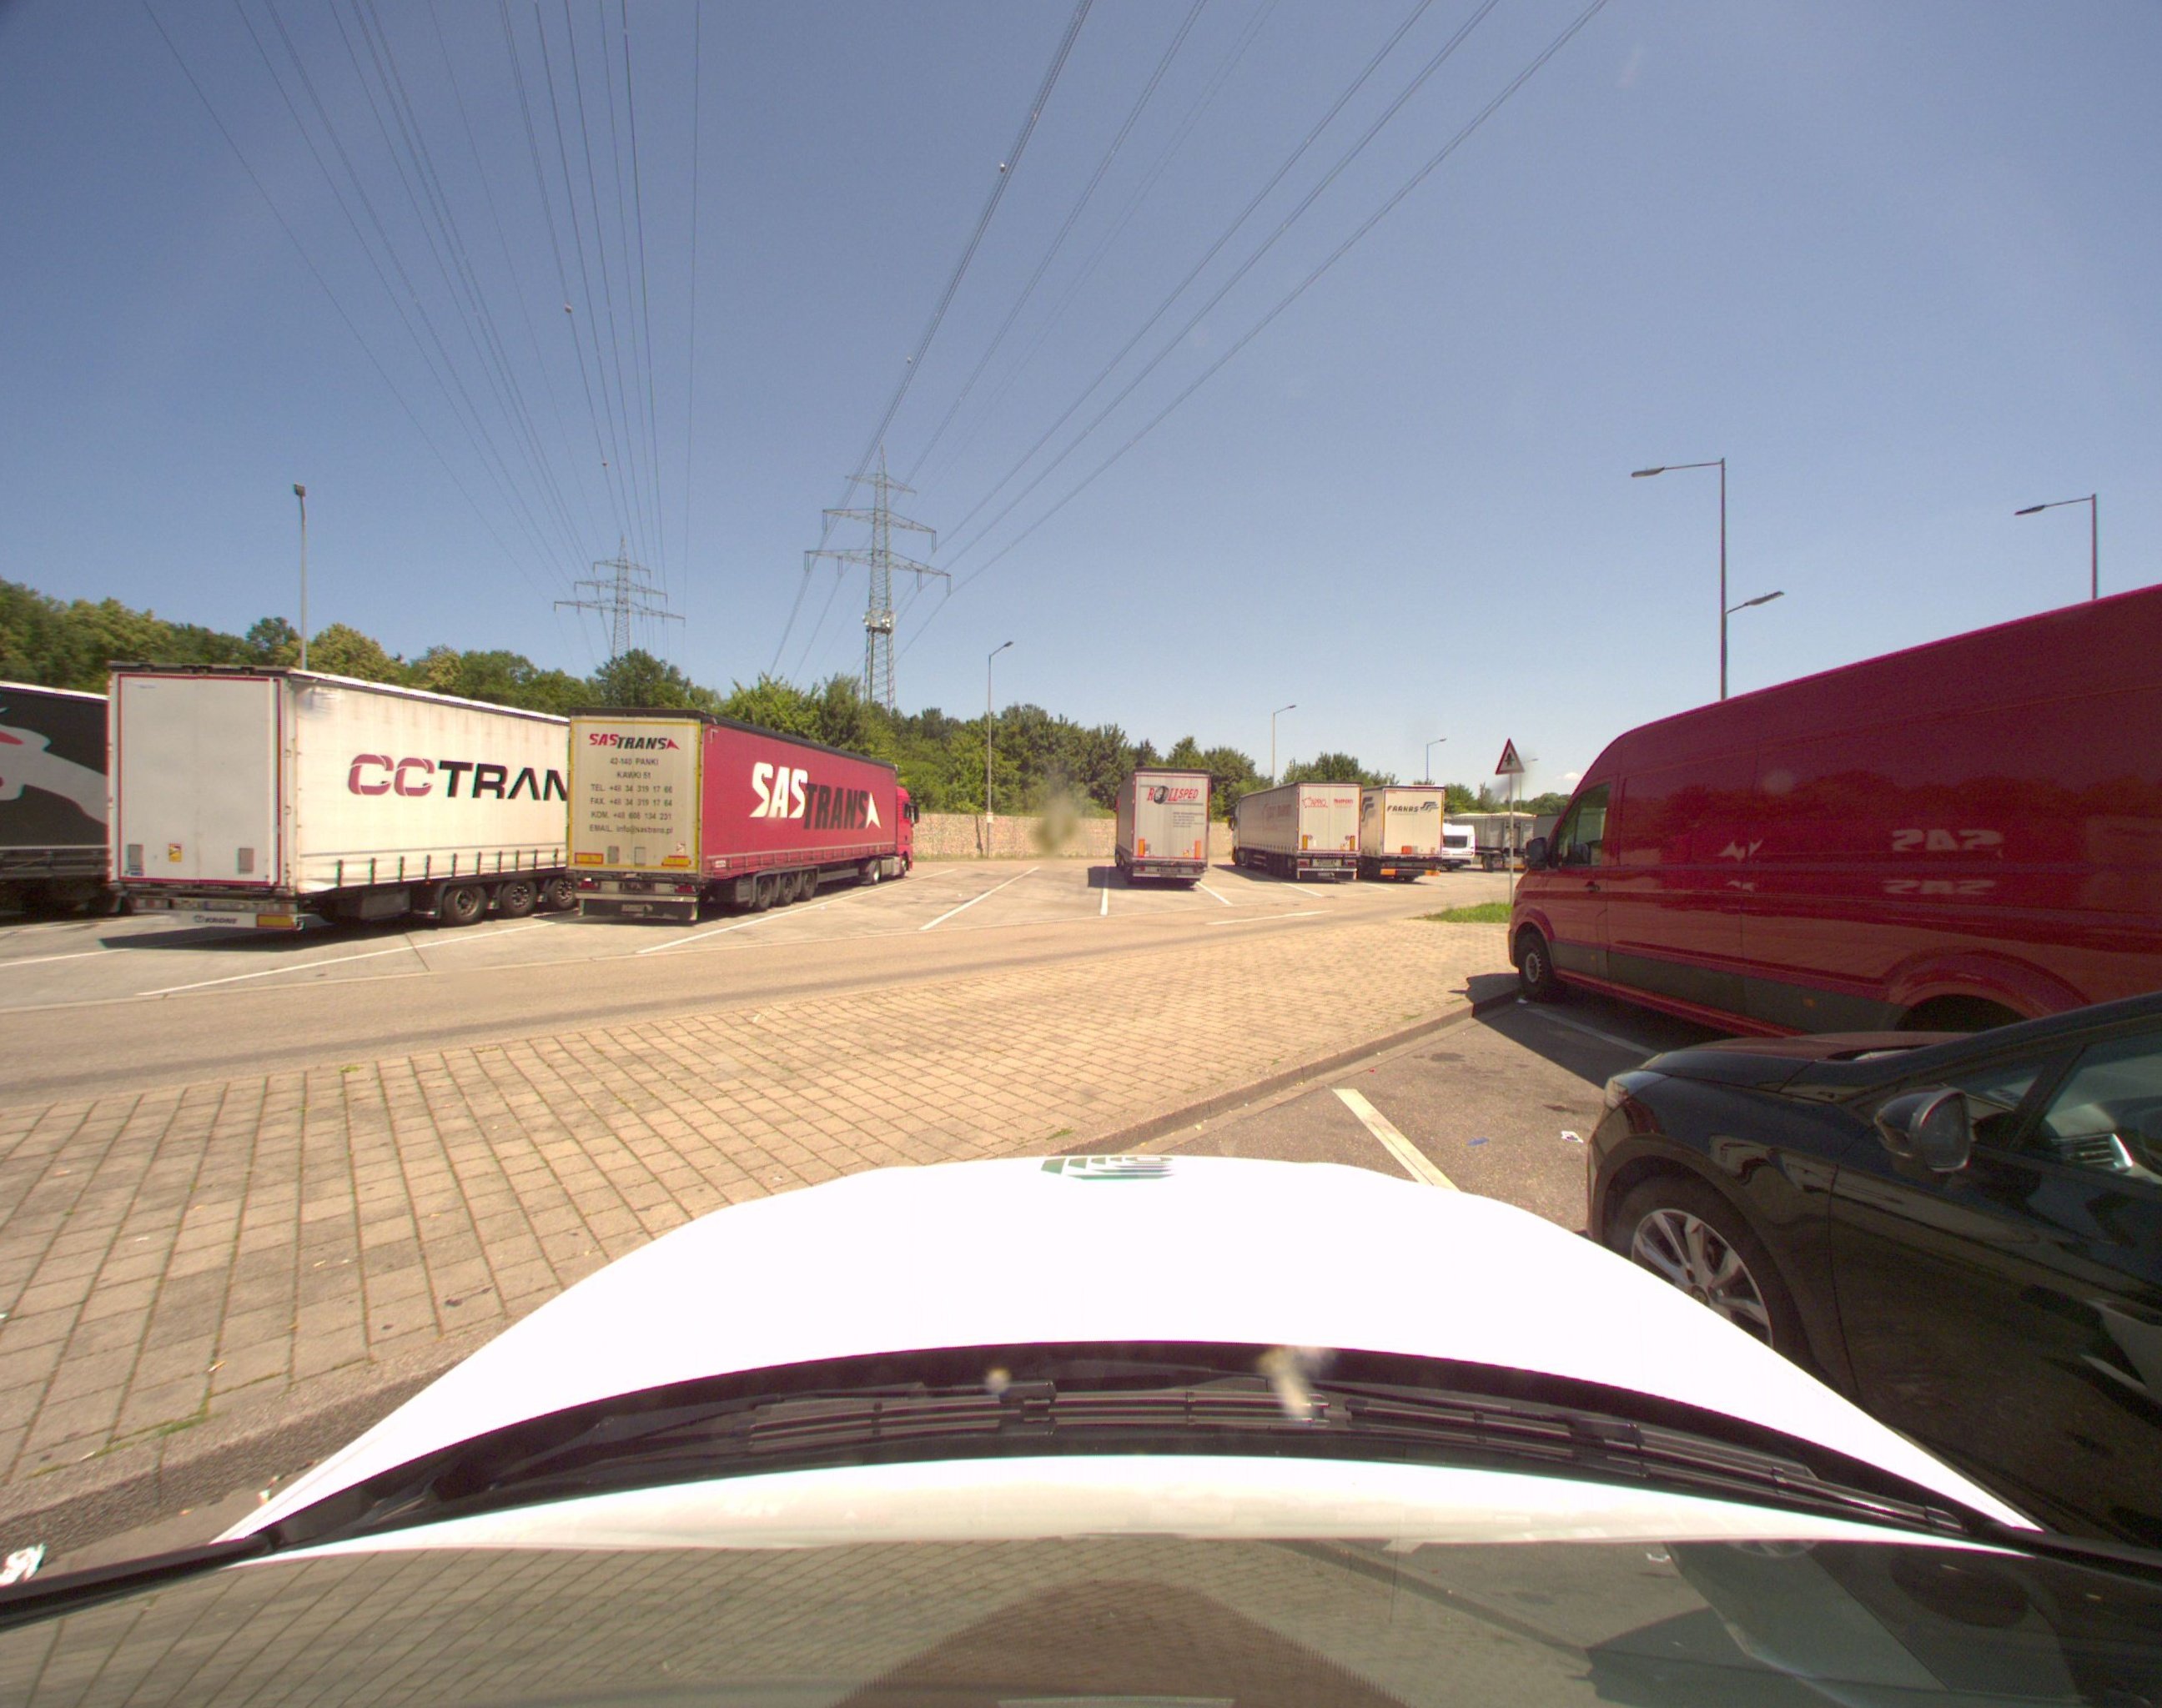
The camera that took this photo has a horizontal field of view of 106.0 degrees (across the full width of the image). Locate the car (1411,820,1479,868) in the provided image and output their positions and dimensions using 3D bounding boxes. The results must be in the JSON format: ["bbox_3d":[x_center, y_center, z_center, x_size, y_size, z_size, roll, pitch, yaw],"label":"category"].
[{"bbox_3d":[20.537,-0.514,46.127,2.107,2.599,4.001,0,-1,2],"label":"car"}]

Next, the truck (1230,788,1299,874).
[{"bbox_3d":[10.078,-1.232,45.250,2.651,4.452,5.866,-1,1,2],"label":"truck"}]

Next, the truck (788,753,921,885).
[{"bbox_3d":[-7.753,-1.150,28.711,2.795,4.133,5.896,-1,1,2],"label":"truck"}]

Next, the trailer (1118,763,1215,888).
[{"bbox_3d":[3.032,-1.001,32.061,2.886,4.013,11.321,-1,1,1],"label":"trailer"}]

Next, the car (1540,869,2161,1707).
[{"bbox_3d":[2.533,0.768,0.887,1.773,1.457,3.679,0,-1,-5],"label":"car"}]

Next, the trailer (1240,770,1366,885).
[{"bbox_3d":[9.901,-1.111,38.104,2.672,4.452,12.833,-1,1,1],"label":"trailer"}]

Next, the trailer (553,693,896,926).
[{"bbox_3d":[-8.003,-0.897,21.455,2.789,4.219,13.208,-1,1,2],"label":"trailer"}]

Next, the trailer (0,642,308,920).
[{"bbox_3d":[-18.566,-1.180,14.958,2.668,4.444,6.151,-1,1,2],"label":"trailer"}]

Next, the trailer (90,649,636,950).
[{"bbox_3d":[-12.189,-0.811,15.401,2.744,4.152,8.291,0,1,2],"label":"trailer"}]

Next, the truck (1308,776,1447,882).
[{"bbox_3d":[13.532,-0.937,38.579,2.577,4.226,11.974,0,-1,2],"label":"truck"}]

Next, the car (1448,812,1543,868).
[{"bbox_3d":[24.135,-0.817,47.748,2.490,3.074,6.353,-1,1,2],"label":"car"}]

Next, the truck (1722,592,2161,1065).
[{"bbox_3d":[7.787,-0.149,6.004,2.508,2.827,4.821,0,-1,3],"label":"truck"}]

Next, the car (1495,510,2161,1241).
[{"bbox_3d":[5.137,0.033,5.491,1.984,2.633,6.393,-1,1,5],"label":"car"}]

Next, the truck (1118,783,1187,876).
[{"bbox_3d":[3.206,-1.092,37.905,2.860,3.980,6.032,-1,1,2],"label":"truck"}]
